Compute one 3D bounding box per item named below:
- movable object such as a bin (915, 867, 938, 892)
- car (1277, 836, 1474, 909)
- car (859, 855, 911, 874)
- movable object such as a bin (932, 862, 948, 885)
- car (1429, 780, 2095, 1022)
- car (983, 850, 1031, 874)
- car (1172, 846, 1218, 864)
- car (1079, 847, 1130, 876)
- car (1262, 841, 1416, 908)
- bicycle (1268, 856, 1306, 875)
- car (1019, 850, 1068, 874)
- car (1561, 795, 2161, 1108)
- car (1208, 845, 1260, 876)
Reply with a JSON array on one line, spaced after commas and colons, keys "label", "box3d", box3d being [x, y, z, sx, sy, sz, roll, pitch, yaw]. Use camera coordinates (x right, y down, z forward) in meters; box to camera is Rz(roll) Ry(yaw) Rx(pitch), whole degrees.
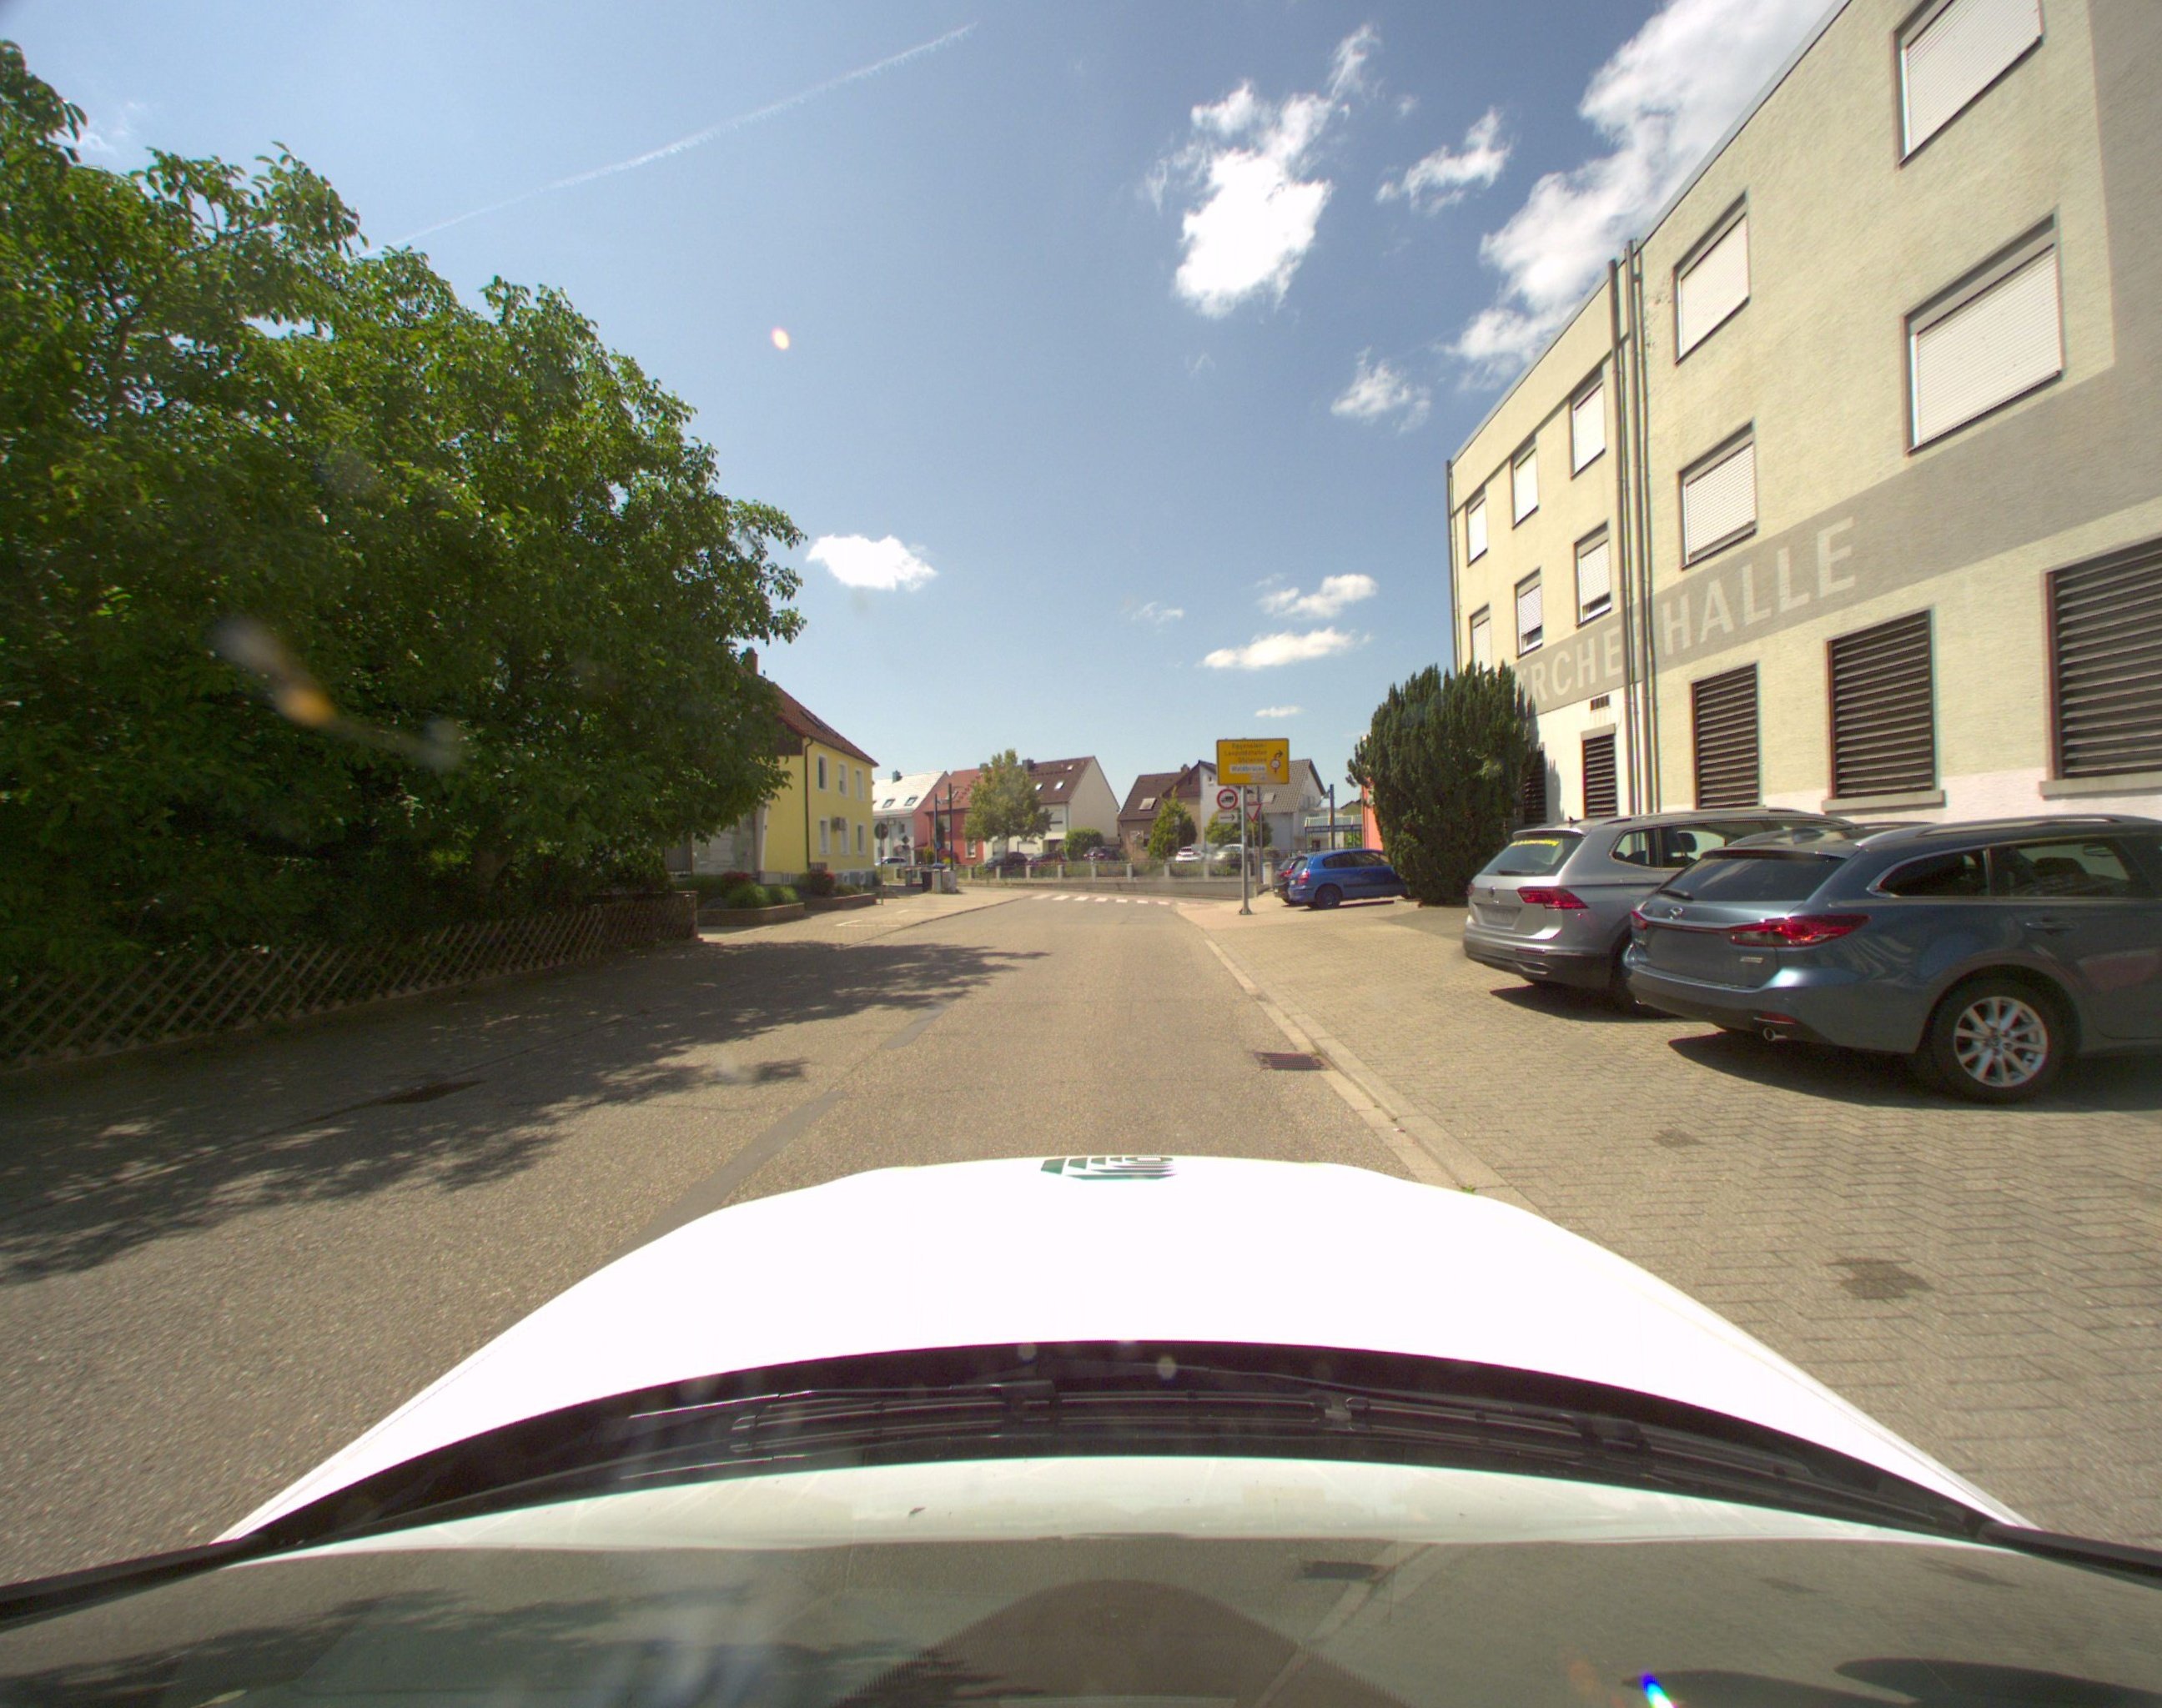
[{"label": "movable object such as a bin", "box3d": [-7.652, 1.278, 40.356, 0.881, 1.225, 0.903, 0, -1, 5]}, {"label": "car", "box3d": [7.414, 0.499, 20.829, 4.307, 1.440, 1.780, -5, -3, 1]}, {"label": "car", "box3d": [-17.223, 0.933, 71.819, 1.725, 1.488, 4.283, 3, -1, 35]}, {"label": "movable object such as a bin", "box3d": [-7.587, 1.060, 43.729, 0.840, 1.213, 1.272, 0, -1, -10]}, {"label": "car", "box3d": [5.843, 0.377, 7.462, 4.438, 1.697, 1.923, -3, -1, 0]}, {"label": "car", "box3d": [-5.654, 0.622, 62.246, 1.850, 1.586, 3.631, 3, -1, 29]}, {"label": "car", "box3d": [7.606, 0.077, 54.124, 1.808, 1.020, 3.480, 3, -1, 29]}, {"label": "car", "box3d": [1.725, 0.558, 58.071, 1.850, 1.797, 4.024, 3, -1, 29]}, {"label": "car", "box3d": [7.547, 0.607, 24.091, 3.882, 1.490, 1.810, -6, -2, 0]}, {"label": "bicycle", "box3d": [12.206, 0.659, 48.274, 2.096, 1.126, 0.335, 0, -1, 22]}, {"label": "car", "box3d": [-2.739, 0.639, 60.225, 1.850, 1.586, 3.631, 3, -1, 29]}, {"label": "car", "box3d": [5.912, 0.445, 5.183, 4.484, 1.520, 2.001, -3, -1, 1]}, {"label": "car", "box3d": [10.000, 0.428, 53.047, 1.975, 1.797, 4.221, 3, -1, 29]}]
